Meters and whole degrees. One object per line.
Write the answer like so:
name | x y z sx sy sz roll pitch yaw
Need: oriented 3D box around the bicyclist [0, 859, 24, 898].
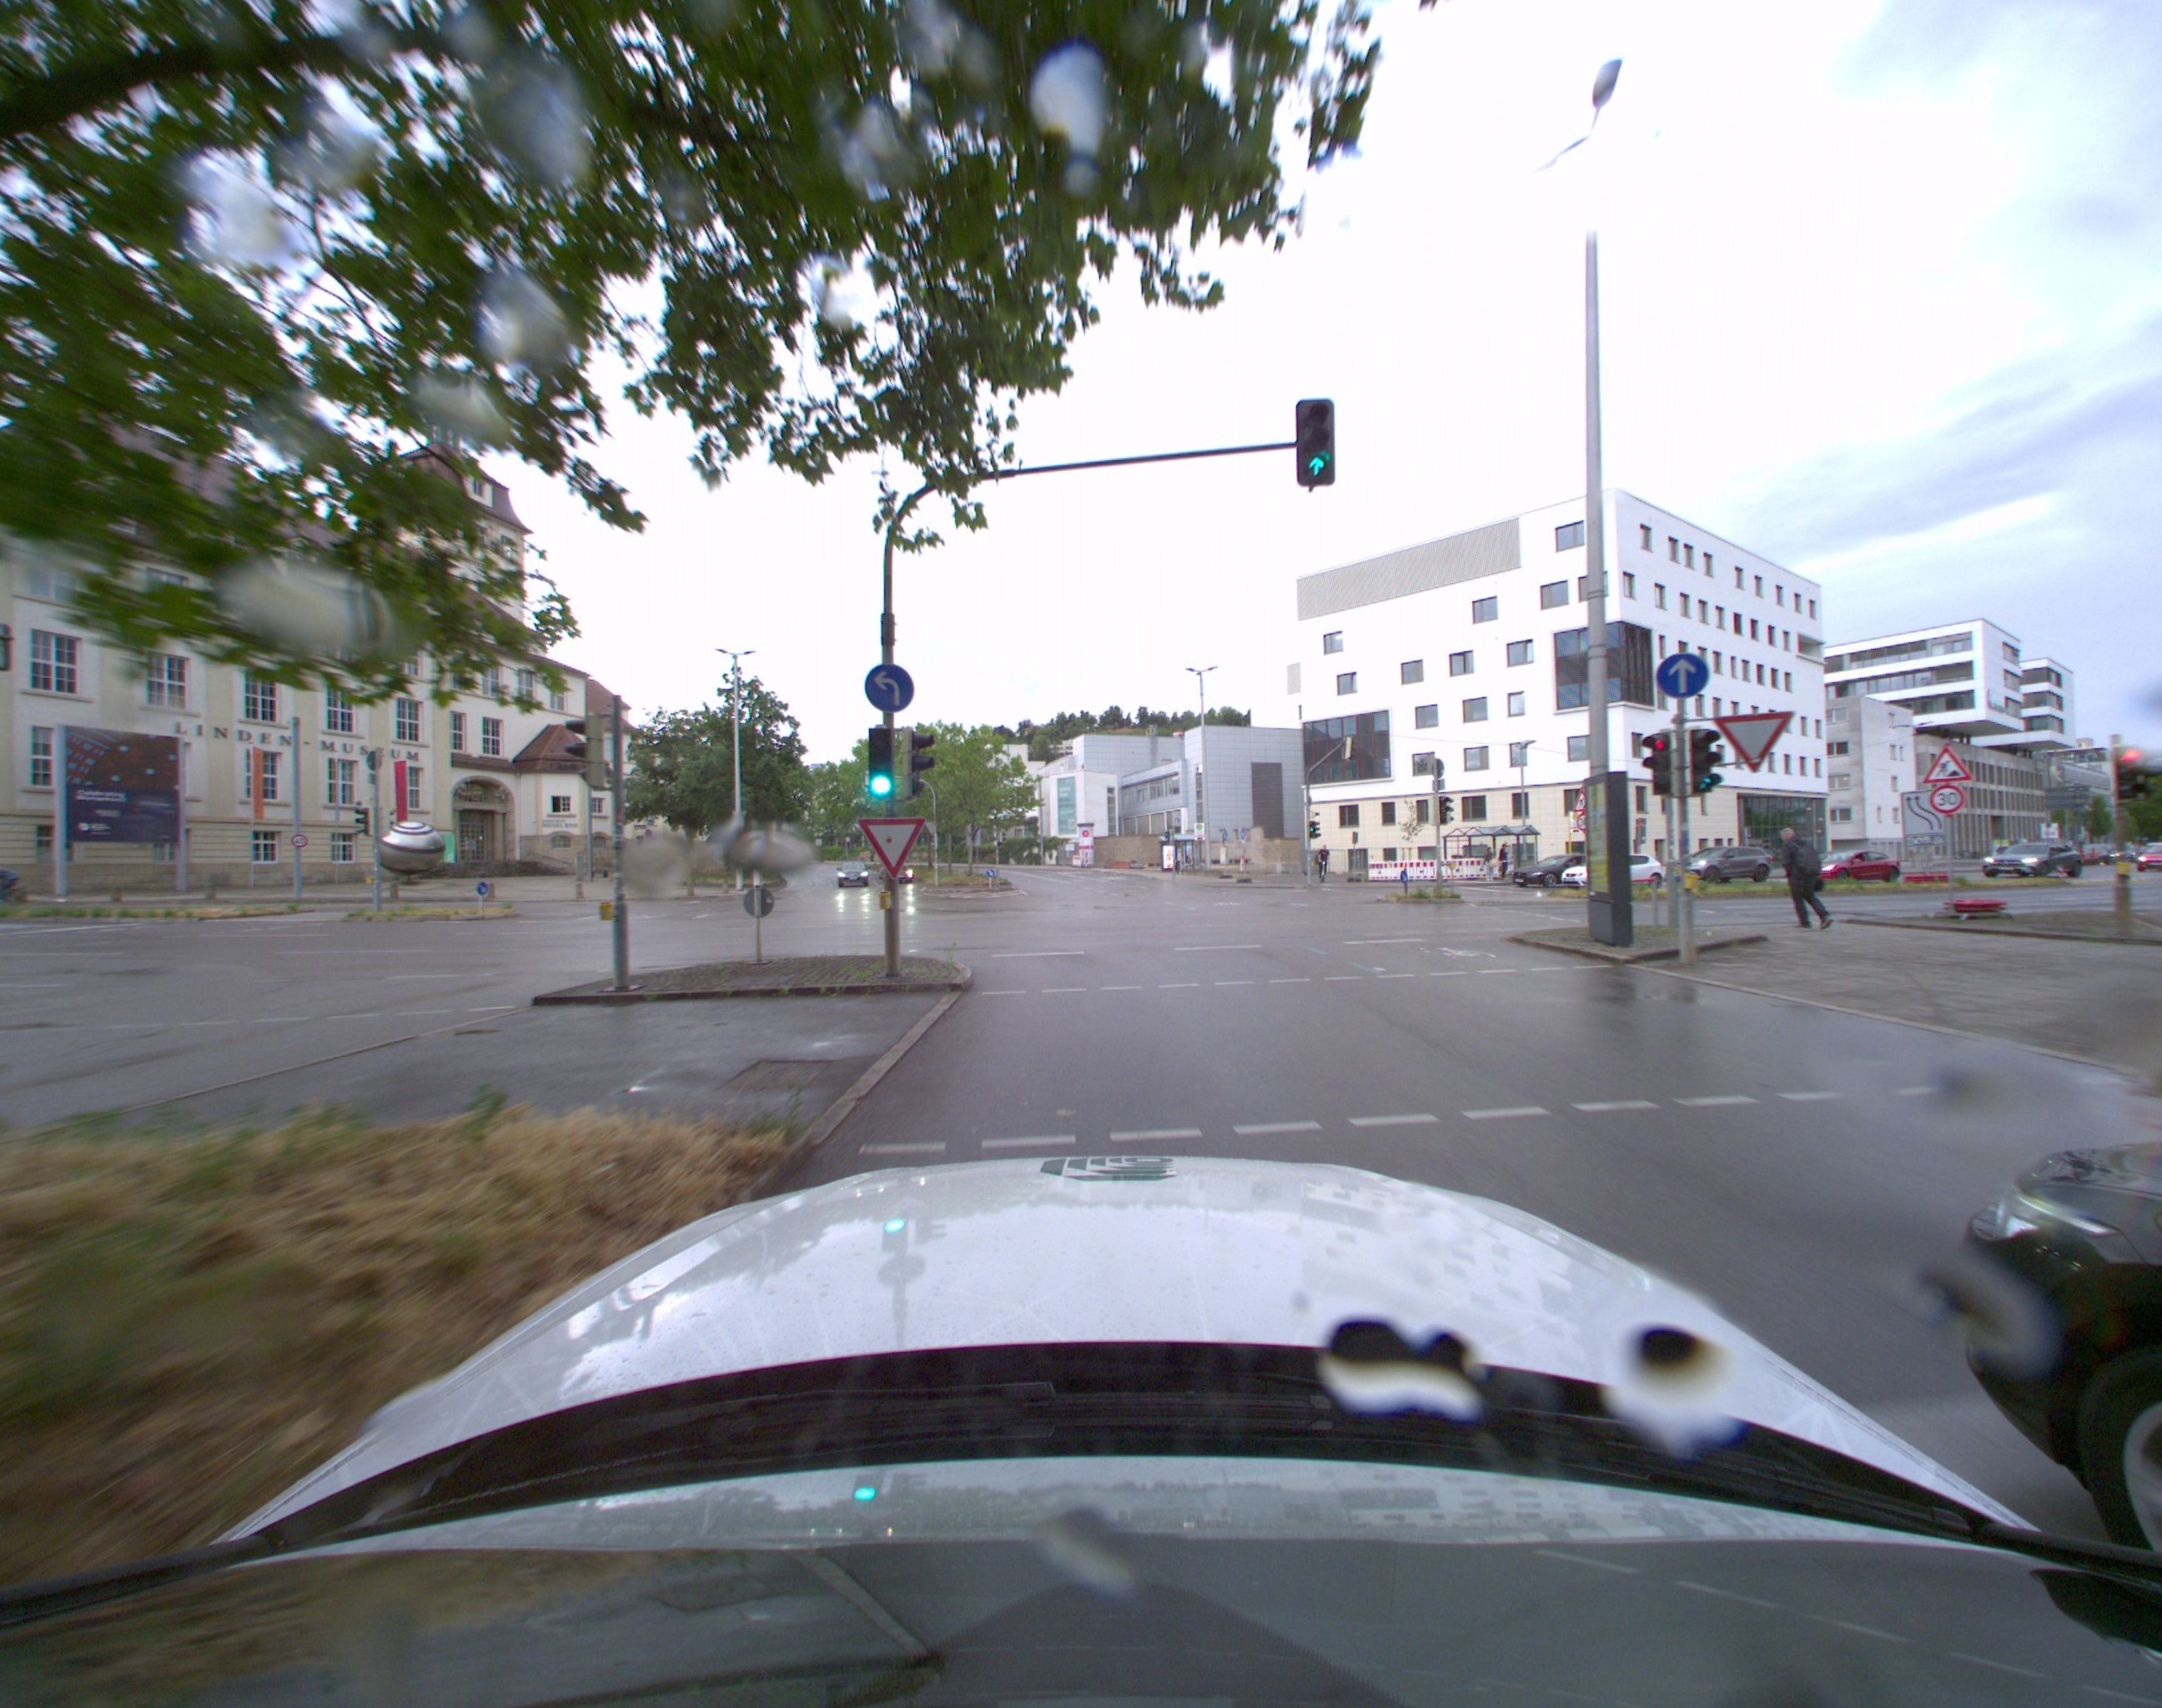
bicyclist | -45.351 1.020 34.101 1.122 1.633 0.701 0 -2 -4

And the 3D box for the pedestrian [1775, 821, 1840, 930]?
pedestrian | 13.131 0.388 14.743 0.819 1.892 1.033 -1 -2 41

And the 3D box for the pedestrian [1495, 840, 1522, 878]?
pedestrian | 22.153 0.258 42.246 0.995 1.935 0.957 0 -2 11

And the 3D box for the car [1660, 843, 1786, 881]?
car | 29.542 0.353 37.531 4.364 1.664 1.998 0 1 -4

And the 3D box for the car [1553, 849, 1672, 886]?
car | 21.339 0.539 32.731 3.991 1.444 1.790 1 -1 -13

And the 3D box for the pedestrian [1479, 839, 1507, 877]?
pedestrian | 20.211 0.230 39.968 0.951 1.840 0.821 1 -2 -9

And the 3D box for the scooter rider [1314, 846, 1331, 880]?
scooter rider | 13.601 0.515 45.888 0.725 1.883 0.628 1 -2 -18

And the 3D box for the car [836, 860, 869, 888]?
car | -14.651 1.242 52.331 1.871 1.564 4.254 -2 1 -15

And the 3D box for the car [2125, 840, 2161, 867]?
car | 58.974 -0.010 43.938 4.157 1.450 1.955 1 -1 -18

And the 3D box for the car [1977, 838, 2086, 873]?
car | 44.955 0.085 38.527 4.157 1.537 1.955 1 -1 -18

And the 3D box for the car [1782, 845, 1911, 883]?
car | 33.058 0.423 35.202 4.520 1.557 1.957 1 -1 -14

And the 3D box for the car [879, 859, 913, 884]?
car | -12.820 1.169 56.277 1.795 1.585 3.973 -1 0 -20

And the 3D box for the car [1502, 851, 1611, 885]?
car | 20.796 0.615 35.660 3.991 1.444 1.790 1 -1 -13

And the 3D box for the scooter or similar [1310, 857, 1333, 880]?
scooter or similar | 13.567 0.831 45.900 0.593 1.239 1.305 1 -2 -19

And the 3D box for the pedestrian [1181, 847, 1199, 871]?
pedestrian | 7.955 0.384 59.475 1.253 1.719 1.016 0 -2 0

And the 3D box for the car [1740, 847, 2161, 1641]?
car | 2.812 0.735 0.237 1.664 1.466 4.514 -1 0 1

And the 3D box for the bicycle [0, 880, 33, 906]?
bicycle | -45.260 1.635 34.081 1.812 1.056 0.647 -1 -1 -4
